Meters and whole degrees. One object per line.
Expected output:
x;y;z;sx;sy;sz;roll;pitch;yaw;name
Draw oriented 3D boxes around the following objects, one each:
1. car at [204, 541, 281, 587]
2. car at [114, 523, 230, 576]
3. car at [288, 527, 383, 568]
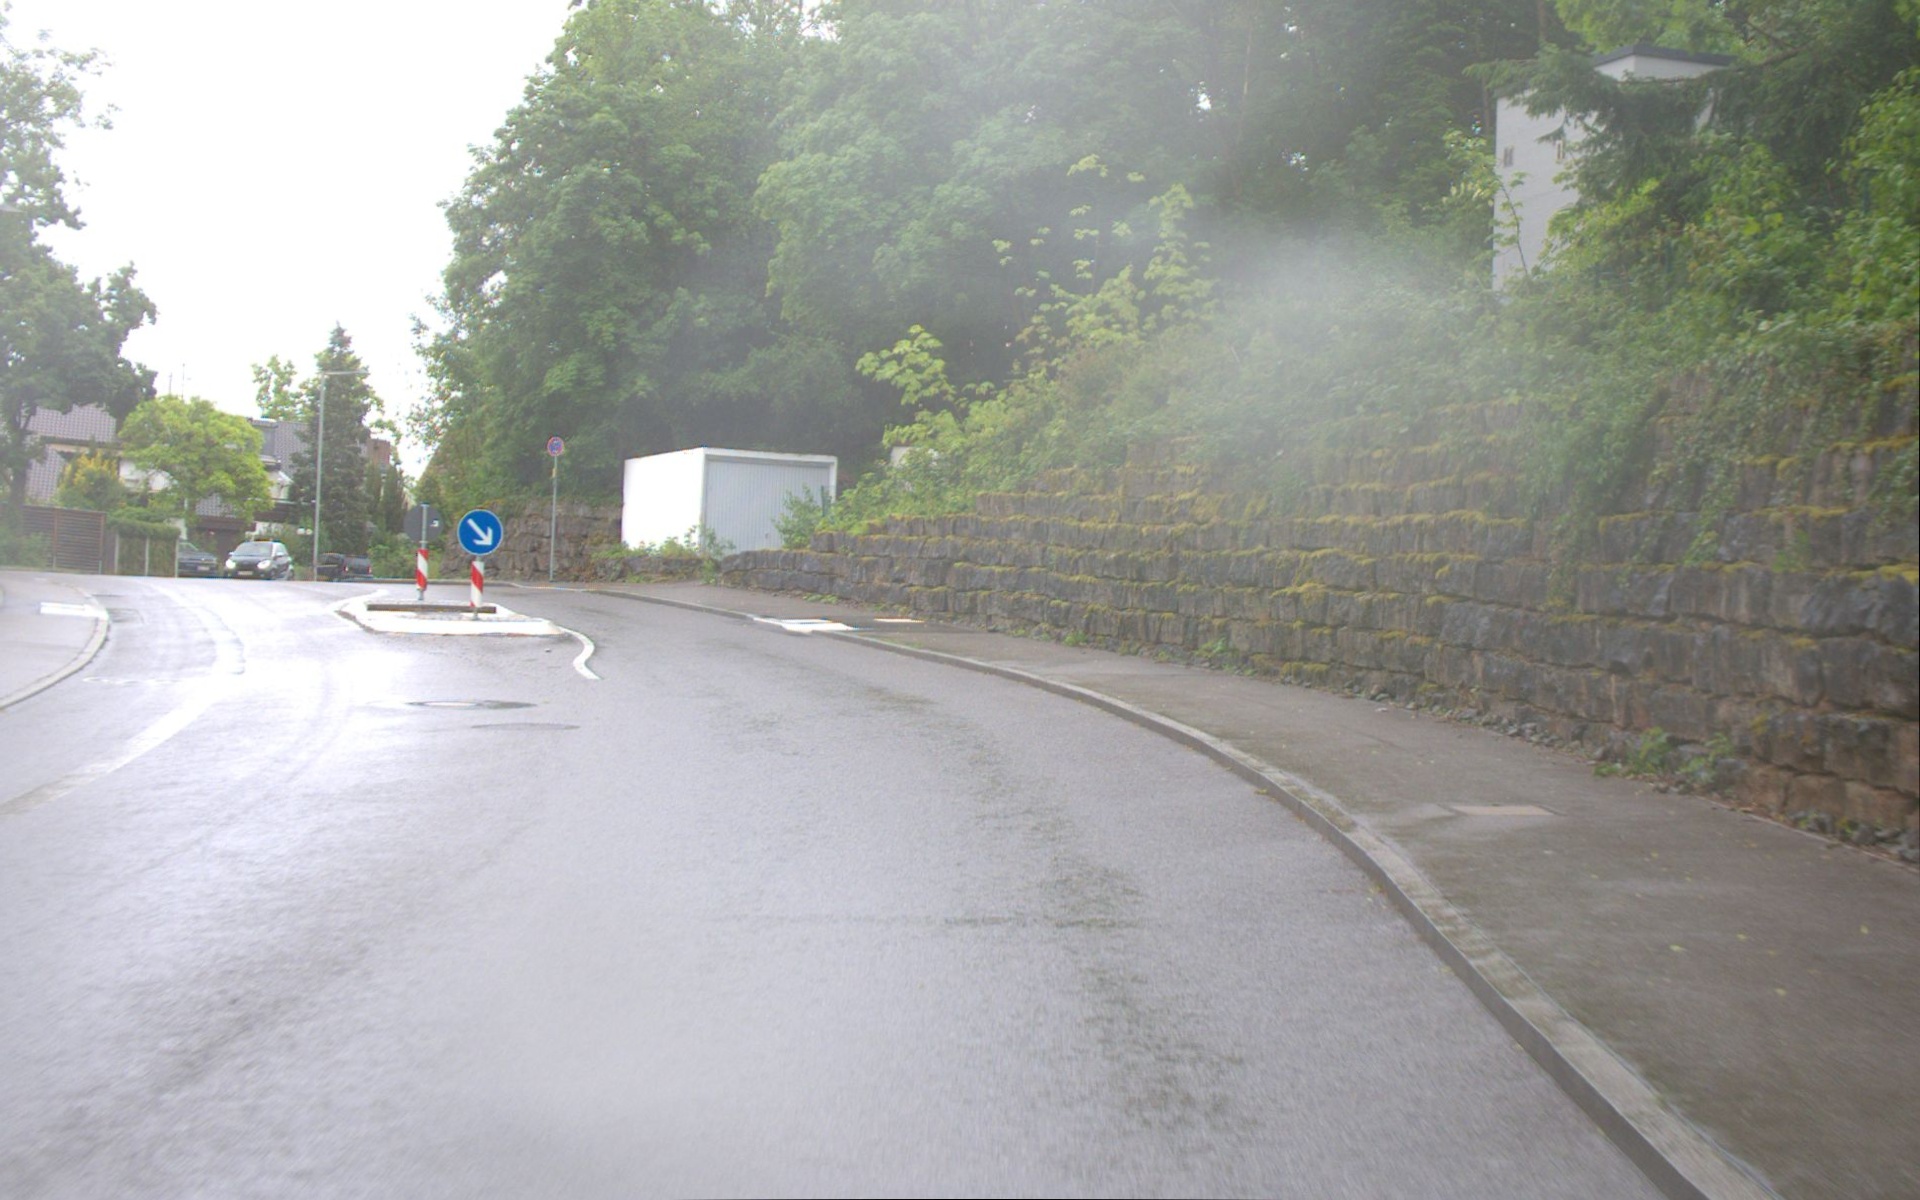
-24.115;-1.223;115.710;1.831;1.515;4.627;1;1;-3;car
-29.097;-1.854;126.923;3.996;1.626;2.009;4;-1;38;car
-24.728;-2.070;136.108;1.934;1.384;3.999;6;-2;-39;car
